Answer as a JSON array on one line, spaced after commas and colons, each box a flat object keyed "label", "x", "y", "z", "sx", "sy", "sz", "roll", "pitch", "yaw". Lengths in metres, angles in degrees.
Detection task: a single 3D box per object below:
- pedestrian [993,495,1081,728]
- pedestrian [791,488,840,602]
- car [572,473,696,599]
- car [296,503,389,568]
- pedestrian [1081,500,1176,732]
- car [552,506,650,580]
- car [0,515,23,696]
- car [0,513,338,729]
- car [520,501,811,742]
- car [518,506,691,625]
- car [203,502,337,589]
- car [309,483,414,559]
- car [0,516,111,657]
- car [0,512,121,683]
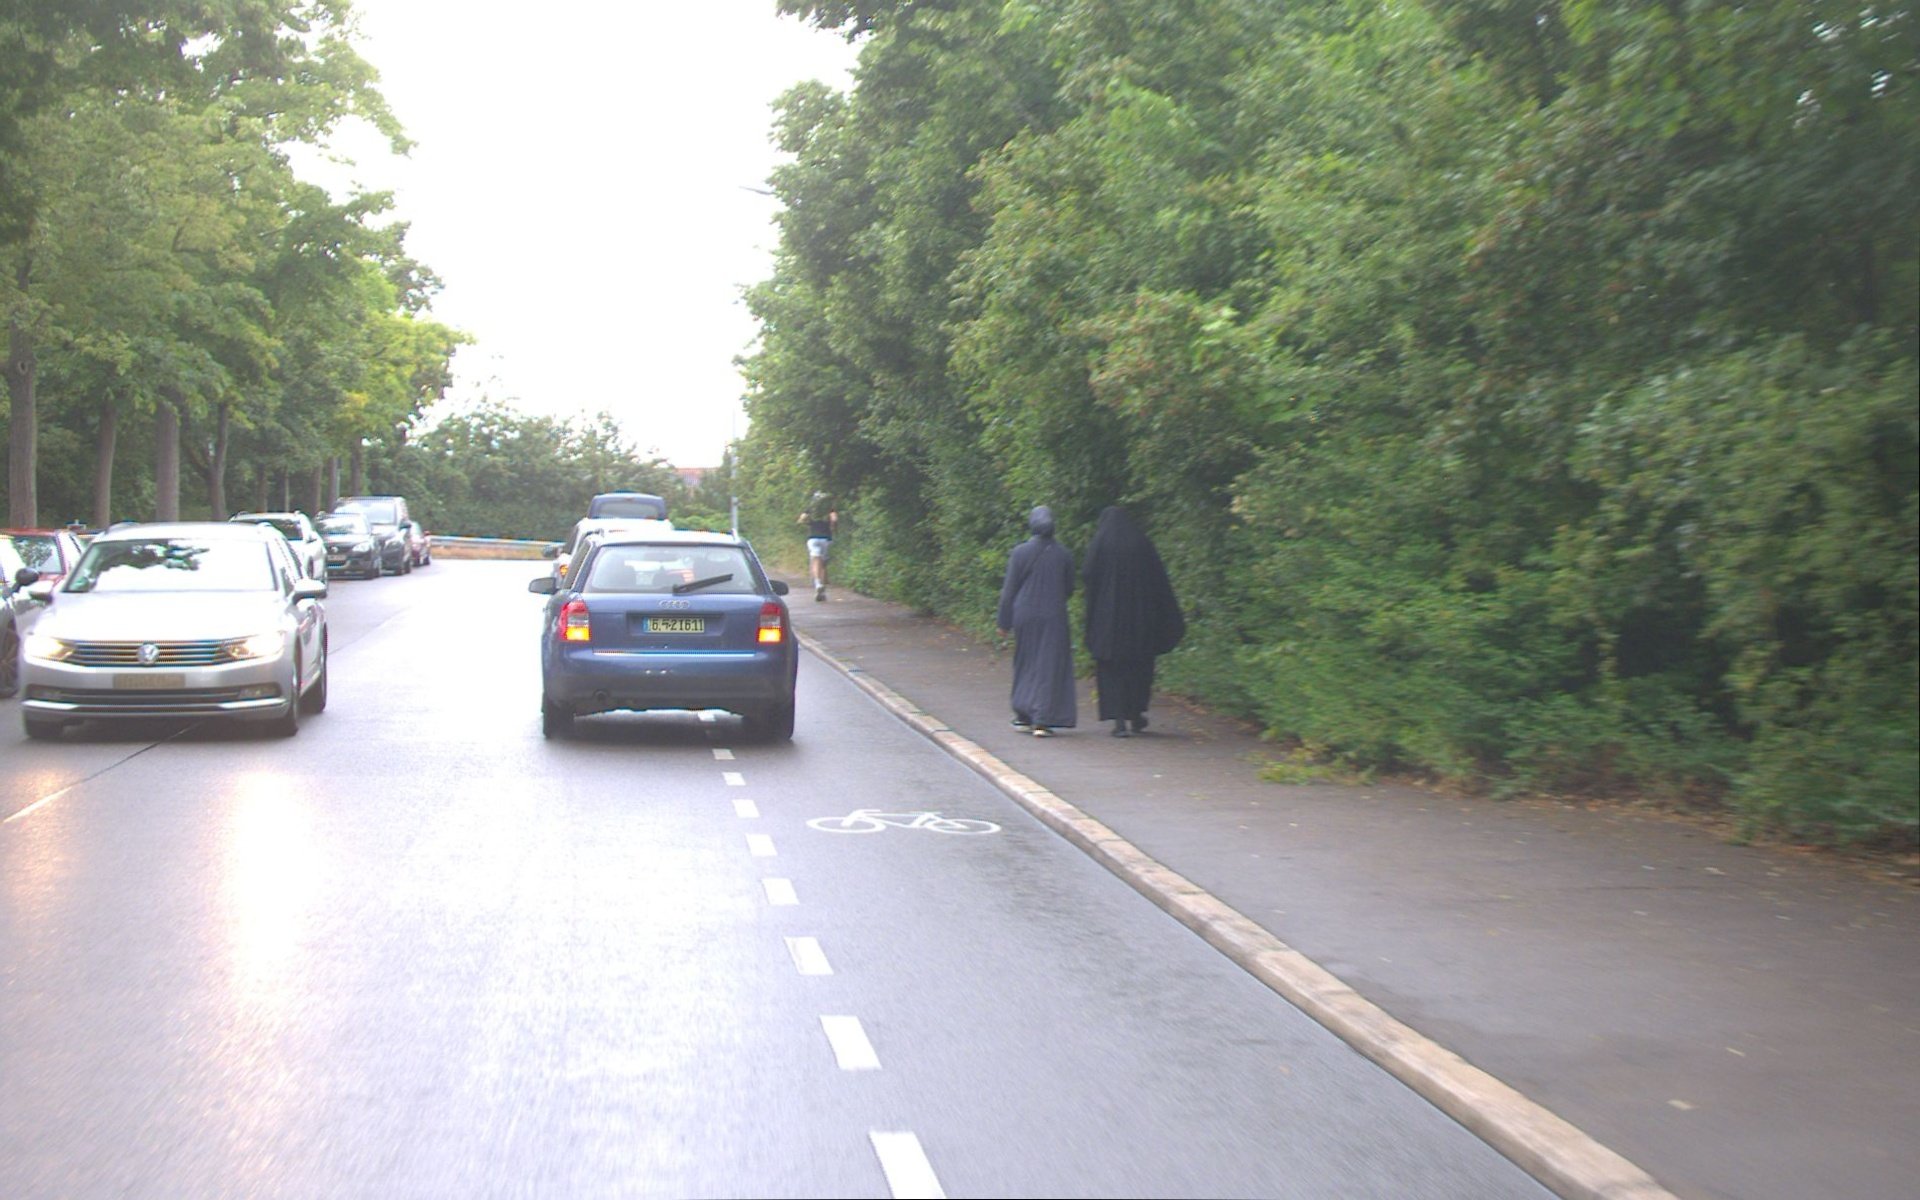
[{"label": "pedestrian", "x": 0.521, "y": 0.070, "z": 23.383, "sx": 0.552, "sy": 1.561, "sz": 0.487, "roll": -1, "pitch": 1, "yaw": -1}, {"label": "pedestrian", "x": -2.373, "y": -0.906, "z": 56.383, "sx": 0.716, "sy": 1.828, "sz": 1.021, "roll": -2, "pitch": 2, "yaw": -4}, {"label": "car", "x": -5.863, "y": -1.115, "z": 61.459, "sx": 1.788, "sy": 1.947, "sz": 4.001, "roll": -5, "pitch": -1, "yaw": -9}, {"label": "car", "x": -14.001, "y": -1.472, "z": 78.122, "sx": 1.797, "sy": 1.432, "sz": 4.257, "roll": 0, "pitch": 1, "yaw": -7}, {"label": "pedestrian", "x": 1.143, "y": 0.098, "z": 23.390, "sx": 0.595, "sy": 1.561, "sz": 0.669, "roll": 0, "pitch": 1, "yaw": -1}, {"label": "car", "x": -8.073, "y": -1.285, "z": 77.078, "sx": 1.821, "sy": 1.611, "sz": 3.787, "roll": -1, "pitch": 1, "yaw": -11}, {"label": "car", "x": -8.338, "y": 0.098, "z": 24.976, "sx": 1.993, "sy": 1.400, "sz": 4.715, "roll": -1, "pitch": 1, "yaw": -3}, {"label": "car", "x": -5.574, "y": 0.095, "z": 24.571, "sx": 1.883, "sy": 1.397, "sz": 4.257, "roll": 0, "pitch": 1, "yaw": -6}, {"label": "car", "x": -2.190, "y": 0.091, "z": 24.644, "sx": 1.747, "sy": 1.402, "sz": 4.002, "roll": 3, "pitch": 3, "yaw": -9}, {"label": "car", "x": -4.379, "y": -0.436, "z": 41.908, "sx": 1.890, "sy": 1.384, "sz": 4.001, "roll": 0, "pitch": 1, "yaw": -9}, {"label": "car", "x": -11.742, "y": -0.939, "z": 58.748, "sx": 1.688, "sy": 1.432, "sz": 4.257, "roll": 0, "pitch": 1, "yaw": -4}, {"label": "car", "x": -14.636, "y": -1.932, "z": 84.336, "sx": 2.083, "sy": 1.813, "sz": 5.382, "roll": 0, "pitch": 1, "yaw": -5}, {"label": "car", "x": -9.692, "y": -0.164, "z": 35.083, "sx": 1.595, "sy": 1.357, "sz": 4.002, "roll": 0, "pitch": 1, "yaw": -8}, {"label": "car", "x": -8.917, "y": -0.046, "z": 30.544, "sx": 1.993, "sy": 1.400, "sz": 4.715, "roll": -1, "pitch": 1, "yaw": -3}]
